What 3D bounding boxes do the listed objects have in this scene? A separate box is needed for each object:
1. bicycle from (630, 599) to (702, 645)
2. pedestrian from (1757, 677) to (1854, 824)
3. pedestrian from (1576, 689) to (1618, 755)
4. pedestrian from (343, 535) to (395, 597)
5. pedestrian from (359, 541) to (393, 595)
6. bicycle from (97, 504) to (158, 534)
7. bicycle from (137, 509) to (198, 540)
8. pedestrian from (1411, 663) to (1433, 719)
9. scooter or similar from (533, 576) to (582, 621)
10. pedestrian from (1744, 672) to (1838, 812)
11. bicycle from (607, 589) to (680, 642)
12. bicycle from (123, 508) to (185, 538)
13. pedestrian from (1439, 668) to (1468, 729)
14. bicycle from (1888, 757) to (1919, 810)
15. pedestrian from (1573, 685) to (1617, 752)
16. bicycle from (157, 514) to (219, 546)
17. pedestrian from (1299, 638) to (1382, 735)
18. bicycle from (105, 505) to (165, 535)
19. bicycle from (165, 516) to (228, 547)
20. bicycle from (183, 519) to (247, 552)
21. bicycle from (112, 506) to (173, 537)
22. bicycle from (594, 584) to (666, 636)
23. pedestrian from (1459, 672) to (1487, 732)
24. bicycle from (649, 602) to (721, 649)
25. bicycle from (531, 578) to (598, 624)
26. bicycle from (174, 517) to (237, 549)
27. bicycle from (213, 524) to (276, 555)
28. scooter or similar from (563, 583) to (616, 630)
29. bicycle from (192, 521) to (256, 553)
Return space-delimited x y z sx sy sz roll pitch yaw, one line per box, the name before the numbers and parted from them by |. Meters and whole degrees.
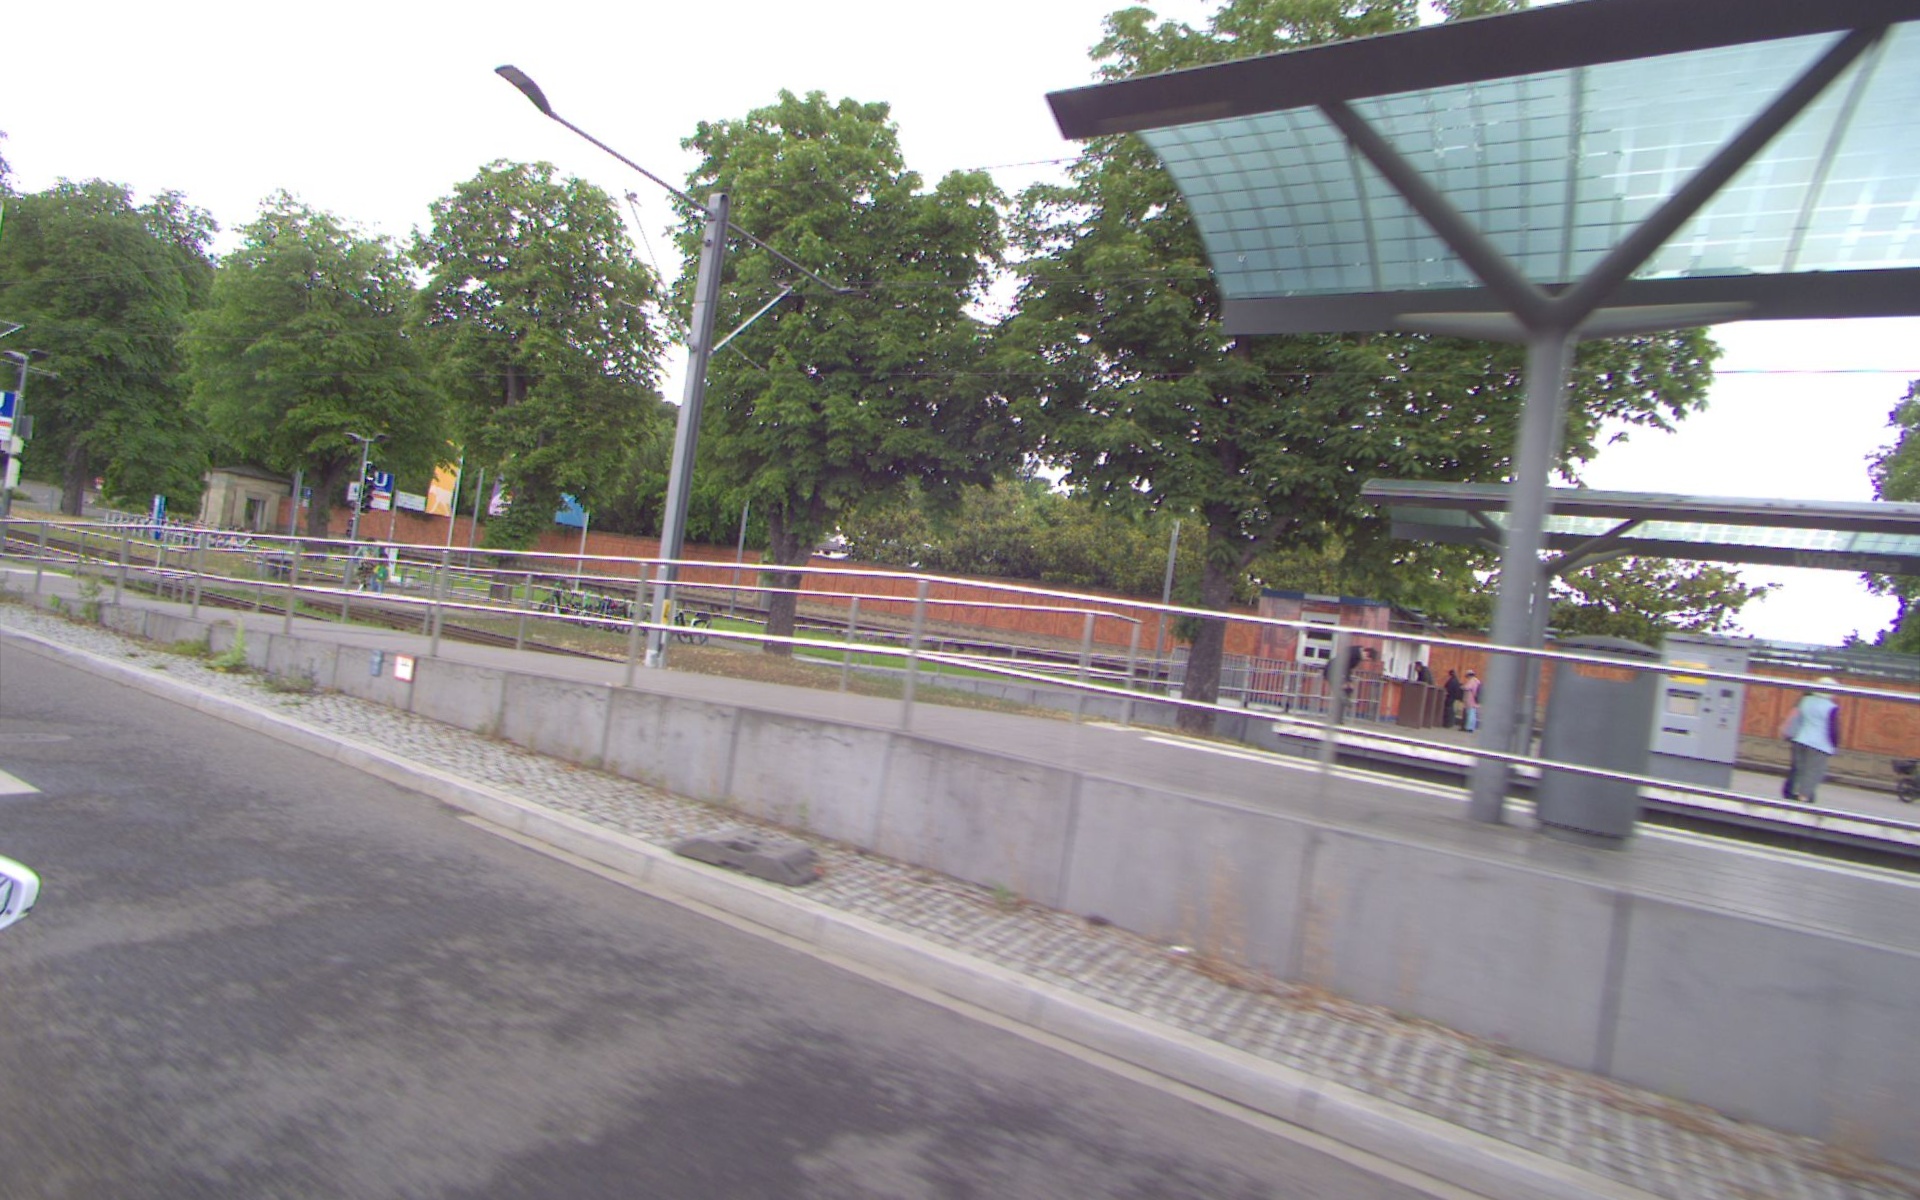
bicycle | -7.910 0.611 27.118 0.524 0.973 1.879 7 -4 31
pedestrian | 10.620 1.883 12.655 0.664 1.695 0.546 8 -3 28
pedestrian | 16.567 3.173 26.172 0.611 1.599 0.587 8 -3 18
pedestrian | -16.907 -0.967 28.802 0.763 1.628 0.835 8 0 9
pedestrian | -17.241 -0.937 29.691 0.506 1.520 0.498 8 0 9
bicycle | -36.807 -3.572 44.505 0.522 0.987 1.916 8 -1 31
bicycle | -33.810 -3.195 42.948 0.522 0.987 1.916 8 -1 31
pedestrian | 12.736 2.506 27.716 0.311 1.503 0.342 7 -3 34
scooter or similar | -12.037 -0.047 30.130 1.157 1.151 0.330 12 -3 -35
pedestrian | 10.939 1.868 13.264 0.665 1.695 0.676 8 -3 28
bicycle | -8.629 0.435 27.488 0.524 1.151 1.879 7 -4 31
bicycle | -34.587 -3.298 43.200 0.522 0.987 1.916 8 -1 31
pedestrian | 13.300 2.668 27.120 0.452 1.551 0.486 7 -3 34
bicycle | 21.926 4.222 22.512 1.684 1.072 0.565 9 -3 0
pedestrian | 16.106 3.008 25.536 0.611 1.599 0.657 8 -3 17
bicycle | -32.001 -2.903 41.726 0.522 0.987 1.916 8 -1 31
pedestrian | 5.932 1.345 15.667 0.951 1.337 0.676 8 -3 30
bicycle | -36.058 -3.481 43.994 0.522 0.987 1.916 8 -1 31
bicycle | -31.344 -2.806 41.338 0.522 0.987 1.916 8 -1 31
bicycle | -29.951 -2.580 40.479 0.522 0.987 1.916 8 -1 31
bicycle | -35.279 -3.388 43.425 0.522 0.987 1.916 8 -1 31
bicycle | -9.246 0.296 28.263 0.524 1.151 1.879 7 -4 31
pedestrian | 13.594 2.710 26.652 0.452 1.503 0.486 7 -3 34
bicycle | -7.295 0.701 26.764 0.524 0.973 1.879 7 -4 31
bicycle | -11.422 0.049 29.107 0.475 1.044 1.769 7 -4 31
bicycle | -30.710 -2.727 40.989 0.522 0.987 1.916 8 -1 31
bicycle | -28.325 -2.389 39.842 0.522 0.906 1.916 8 -1 31
scooter or similar | -10.543 0.192 28.676 0.328 1.151 1.276 7 -4 38
bicycle | -29.386 -2.504 40.191 0.522 0.987 1.916 8 -1 31
